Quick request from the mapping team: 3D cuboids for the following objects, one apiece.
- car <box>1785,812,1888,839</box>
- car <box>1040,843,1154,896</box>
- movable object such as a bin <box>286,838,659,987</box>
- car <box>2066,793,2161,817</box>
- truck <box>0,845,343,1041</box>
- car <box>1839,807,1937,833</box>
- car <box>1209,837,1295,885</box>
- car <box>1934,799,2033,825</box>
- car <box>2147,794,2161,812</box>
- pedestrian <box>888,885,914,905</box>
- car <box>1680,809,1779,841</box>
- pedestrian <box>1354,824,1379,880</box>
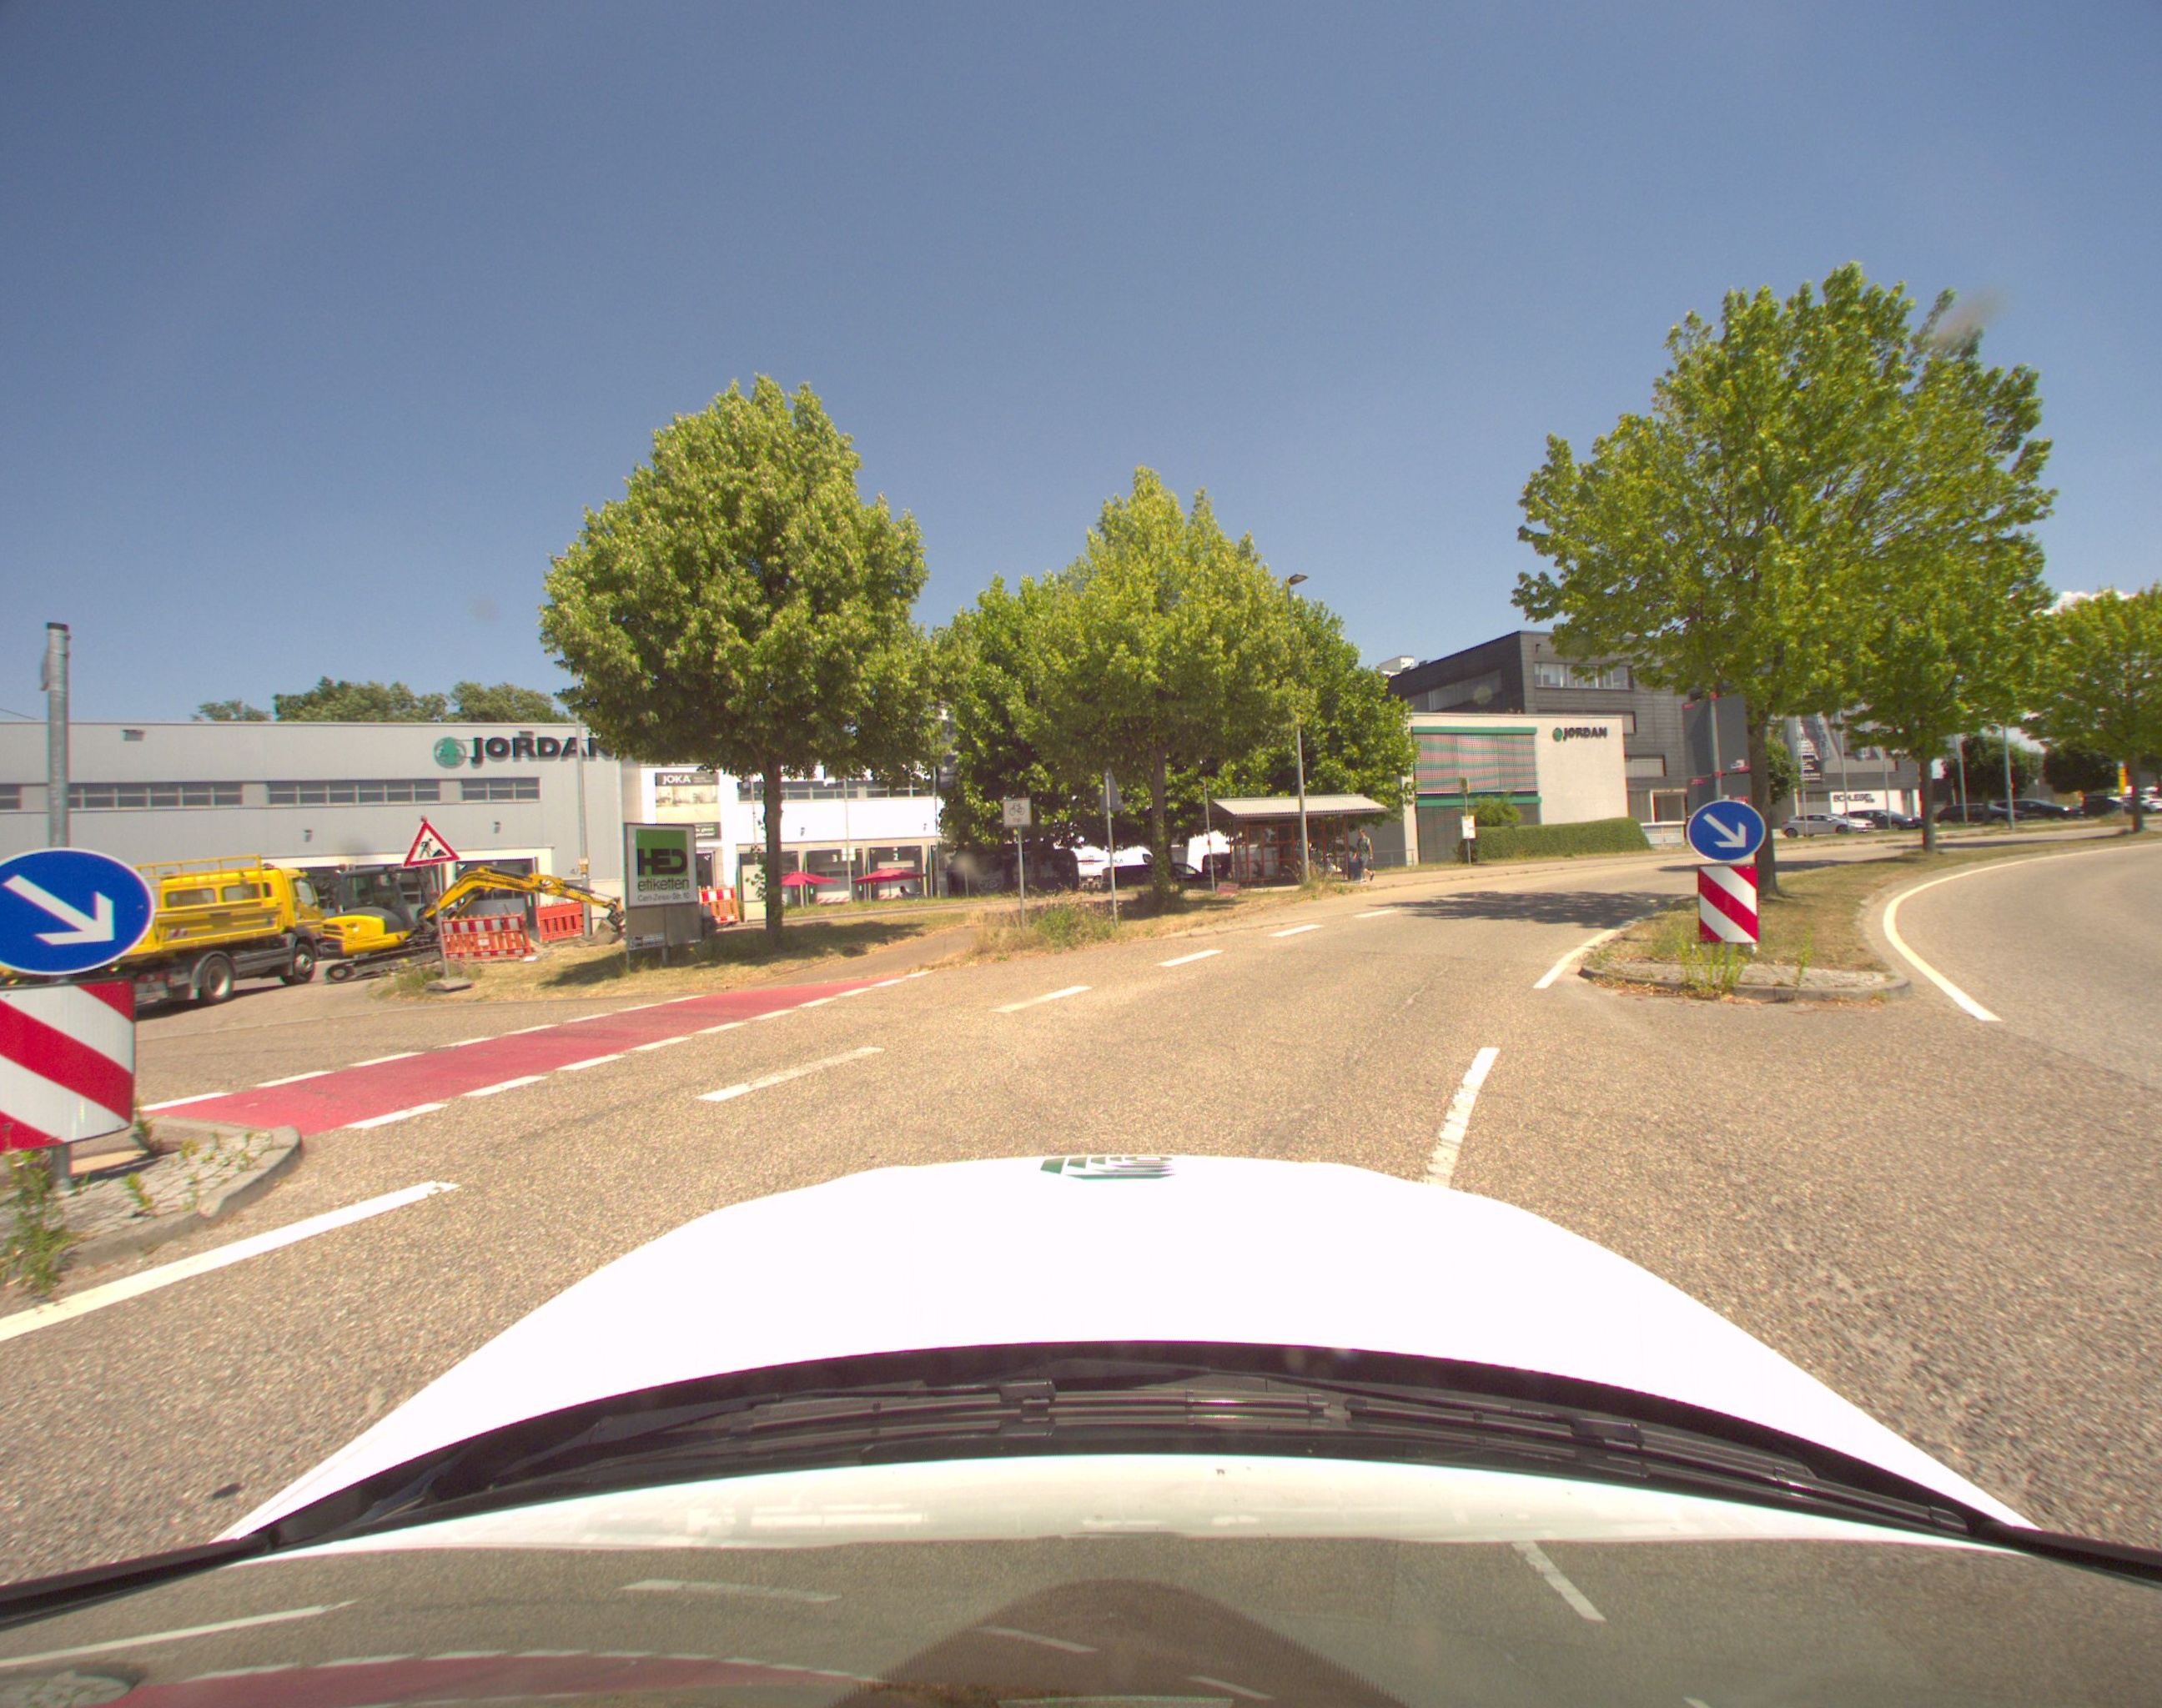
[{"bbox_3d":[44.628,-1.659,48.222,1.493,1.183,4.248,-1,-3,-19],"label":"car"},{"bbox_3d":[0.602,0.599,32.032,3.996,1.728,1.830,-4,-1,-16],"label":"car"},{"bbox_3d":[-13.911,1.273,19.143,6.565,2.581,1.991,-6,-1,-14],"label":"movable object such as a bin"},{"bbox_3d":[73.741,-3.499,58.168,1.705,1.274,3.867,-4,-1,-19],"label":"car"},{"bbox_3d":[-18.826,1.540,17.067,2.598,3.135,6.377,-6,2,-22],"label":"truck"},{"bbox_3d":[49.386,-2.068,49.941,1.705,1.182,3.867,-4,-1,-19],"label":"car"},{"bbox_3d":[8.024,0.384,38.663,1.553,2.014,4.225,0,-3,-28],"label":"car"},{"bbox_3d":[58.290,-2.689,52.681,1.705,1.274,3.867,-4,-1,-19],"label":"car"},{"bbox_3d":[81.712,-3.942,59.802,1.609,1.274,3.819,-4,-1,-19],"label":"car"},{"bbox_3d":[-7.030,1.618,31.900,0.859,0.695,0.408,-5,-1,5],"label":"pedestrian"},{"bbox_3d":[35.494,-1.565,44.703,1.705,1.379,3.893,-4,-1,-19],"label":"car"},{"bbox_3d":[8.704,-0.048,24.847,0.526,1.670,0.581,-2,-3,9],"label":"pedestrian"}]
